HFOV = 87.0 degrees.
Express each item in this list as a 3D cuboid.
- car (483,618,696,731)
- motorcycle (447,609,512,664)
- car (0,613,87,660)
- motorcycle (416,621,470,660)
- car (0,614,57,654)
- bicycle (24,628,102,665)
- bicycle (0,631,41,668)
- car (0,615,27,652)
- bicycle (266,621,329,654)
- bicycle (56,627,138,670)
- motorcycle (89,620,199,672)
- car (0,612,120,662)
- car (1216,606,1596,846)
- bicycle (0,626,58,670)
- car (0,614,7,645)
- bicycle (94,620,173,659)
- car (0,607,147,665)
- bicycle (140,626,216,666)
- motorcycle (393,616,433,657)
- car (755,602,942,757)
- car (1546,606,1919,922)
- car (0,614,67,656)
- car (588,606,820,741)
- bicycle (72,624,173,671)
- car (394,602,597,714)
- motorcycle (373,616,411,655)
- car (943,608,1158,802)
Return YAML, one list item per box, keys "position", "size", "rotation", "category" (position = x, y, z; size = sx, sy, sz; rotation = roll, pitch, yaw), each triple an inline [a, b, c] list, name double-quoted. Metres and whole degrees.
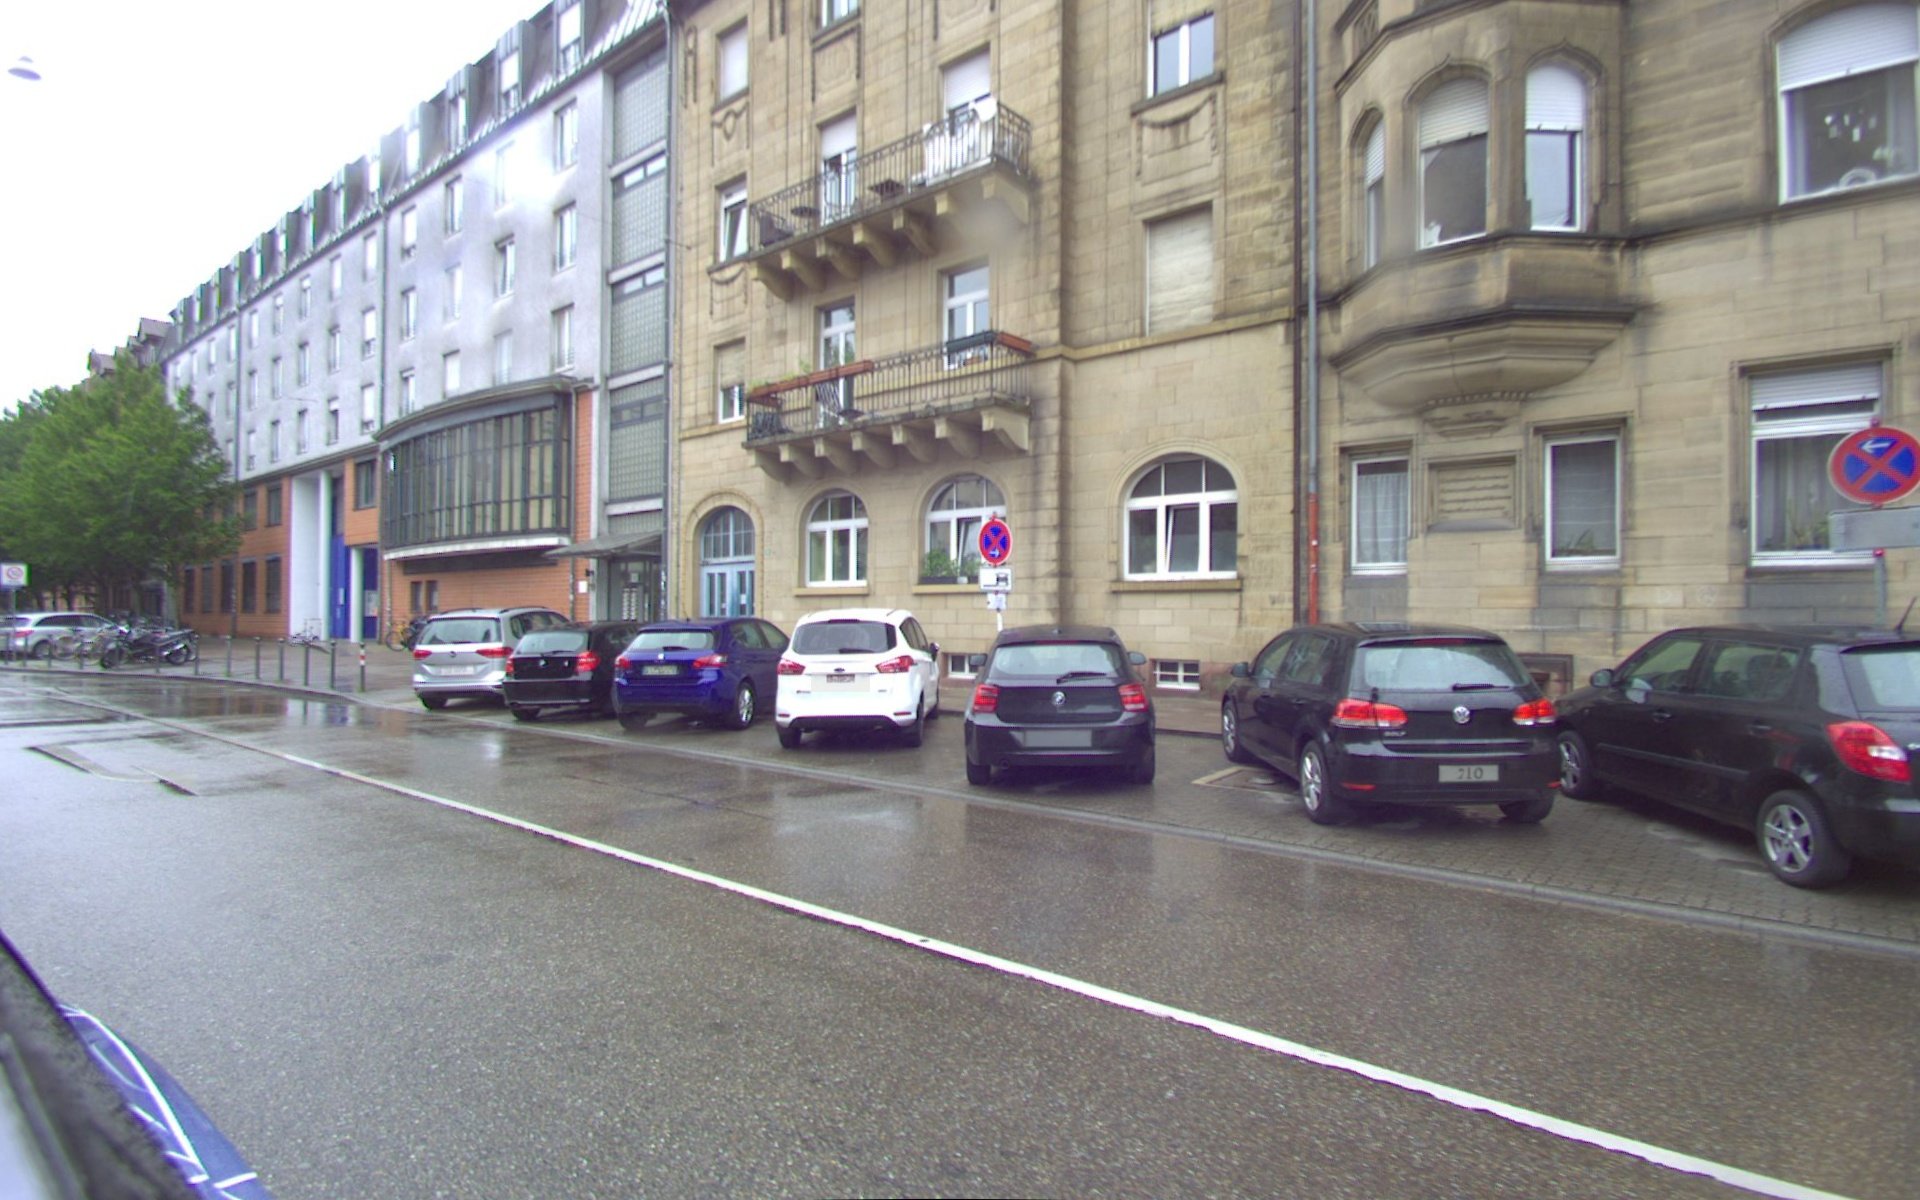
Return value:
- position: [-5.668, 1.094, 15.984]
  size: [1.697, 1.539, 3.720]
  rotation: [1, -2, 6]
  category: "car"
- position: [-13.601, 1.017, 28.594]
  size: [2.361, 1.474, 0.767]
  rotation: [-1, -3, 41]
  category: "motorcycle"
- position: [-36.161, 1.387, 38.697]
  size: [1.993, 1.728, 3.762]
  rotation: [0, -2, 31]
  category: "car"
- position: [-15.534, 1.206, 30.369]
  size: [2.361, 1.110, 0.591]
  rotation: [-1, -3, 41]
  category: "motorcycle"
- position: [-42.791, 1.502, 44.793]
  size: [1.993, 1.728, 3.762]
  rotation: [0, -2, 31]
  category: "car"
- position: [-27.072, 1.400, 30.568]
  size: [0.544, 1.081, 1.667]
  rotation: [-1, -2, 38]
  category: "bicycle"
- position: [-28.638, 1.458, 30.189]
  size: [0.544, 1.081, 1.667]
  rotation: [-1, -4, 38]
  category: "bicycle"
- position: [-46.109, 1.511, 46.891]
  size: [1.993, 1.728, 3.762]
  rotation: [0, -2, 31]
  category: "car"
- position: [-25.290, 1.430, 38.674]
  size: [1.873, 1.234, 0.939]
  rotation: [2, -2, -23]
  category: "bicycle"
- position: [-24.086, 1.339, 28.274]
  size: [0.544, 1.081, 1.667]
  rotation: [-1, 1, 38]
  category: "bicycle"
- position: [-22.173, 1.230, 27.548]
  size: [0.758, 1.320, 2.226]
  rotation: [-1, 0, 41]
  category: "motorcycle"
- position: [-33.512, 1.346, 37.067]
  size: [1.993, 1.728, 3.762]
  rotation: [0, -2, 31]
  category: "car"
- position: [3.461, 0.859, 8.666]
  size: [1.606, 1.555, 3.758]
  rotation: [-1, 0, 1]
  category: "car"
- position: [-26.228, 1.346, 28.086]
  size: [0.544, 1.081, 1.668]
  rotation: [-1, 3, 38]
  category: "bicycle"
- position: [-54.783, 1.572, 55.120]
  size: [1.899, 1.728, 3.762]
  rotation: [0, -2, 31]
  category: "car"
- position: [-24.060, 1.153, 29.482]
  size: [0.544, 1.081, 1.667]
  rotation: [-1, -2, 38]
  category: "bicycle"
- position: [-30.043, 1.192, 33.874]
  size: [1.981, 1.828, 3.981]
  rotation: [0, -2, 14]
  category: "car"
- position: [-22.891, 1.332, 29.664]
  size: [0.544, 1.081, 1.667]
  rotation: [-1, 1, 38]
  category: "bicycle"
- position: [-17.210, 1.143, 31.816]
  size: [1.676, 1.238, 0.539]
  rotation: [-1, -3, 41]
  category: "motorcycle"
- position: [-1.242, 0.862, 12.785]
  size: [1.755, 1.639, 3.724]
  rotation: [-1, 0, 3]
  category: "car"
- position: [5.658, 0.847, 6.810]
  size: [1.608, 1.555, 3.439]
  rotation: [-1, 0, 5]
  category: "car"
- position: [-40.282, 1.441, 42.471]
  size: [1.993, 1.728, 3.762]
  rotation: [0, -2, 31]
  category: "car"
- position: [-3.479, 0.919, 14.497]
  size: [1.881, 1.539, 3.716]
  rotation: [0, 2, 10]
  category: "car"
- position: [-23.103, 1.289, 27.948]
  size: [0.772, 1.181, 2.024]
  rotation: [-1, 1, 38]
  category: "bicycle"
- position: [-8.040, 0.976, 17.952]
  size: [1.791, 1.743, 3.923]
  rotation: [1, -2, 0]
  category: "car"
- position: [-18.527, 1.146, 32.992]
  size: [1.676, 1.238, 0.539]
  rotation: [-1, -3, 41]
  category: "motorcycle"
- position: [0.931, 0.901, 10.311]
  size: [1.757, 1.555, 3.721]
  rotation: [-1, 0, 6]
  category: "car"
